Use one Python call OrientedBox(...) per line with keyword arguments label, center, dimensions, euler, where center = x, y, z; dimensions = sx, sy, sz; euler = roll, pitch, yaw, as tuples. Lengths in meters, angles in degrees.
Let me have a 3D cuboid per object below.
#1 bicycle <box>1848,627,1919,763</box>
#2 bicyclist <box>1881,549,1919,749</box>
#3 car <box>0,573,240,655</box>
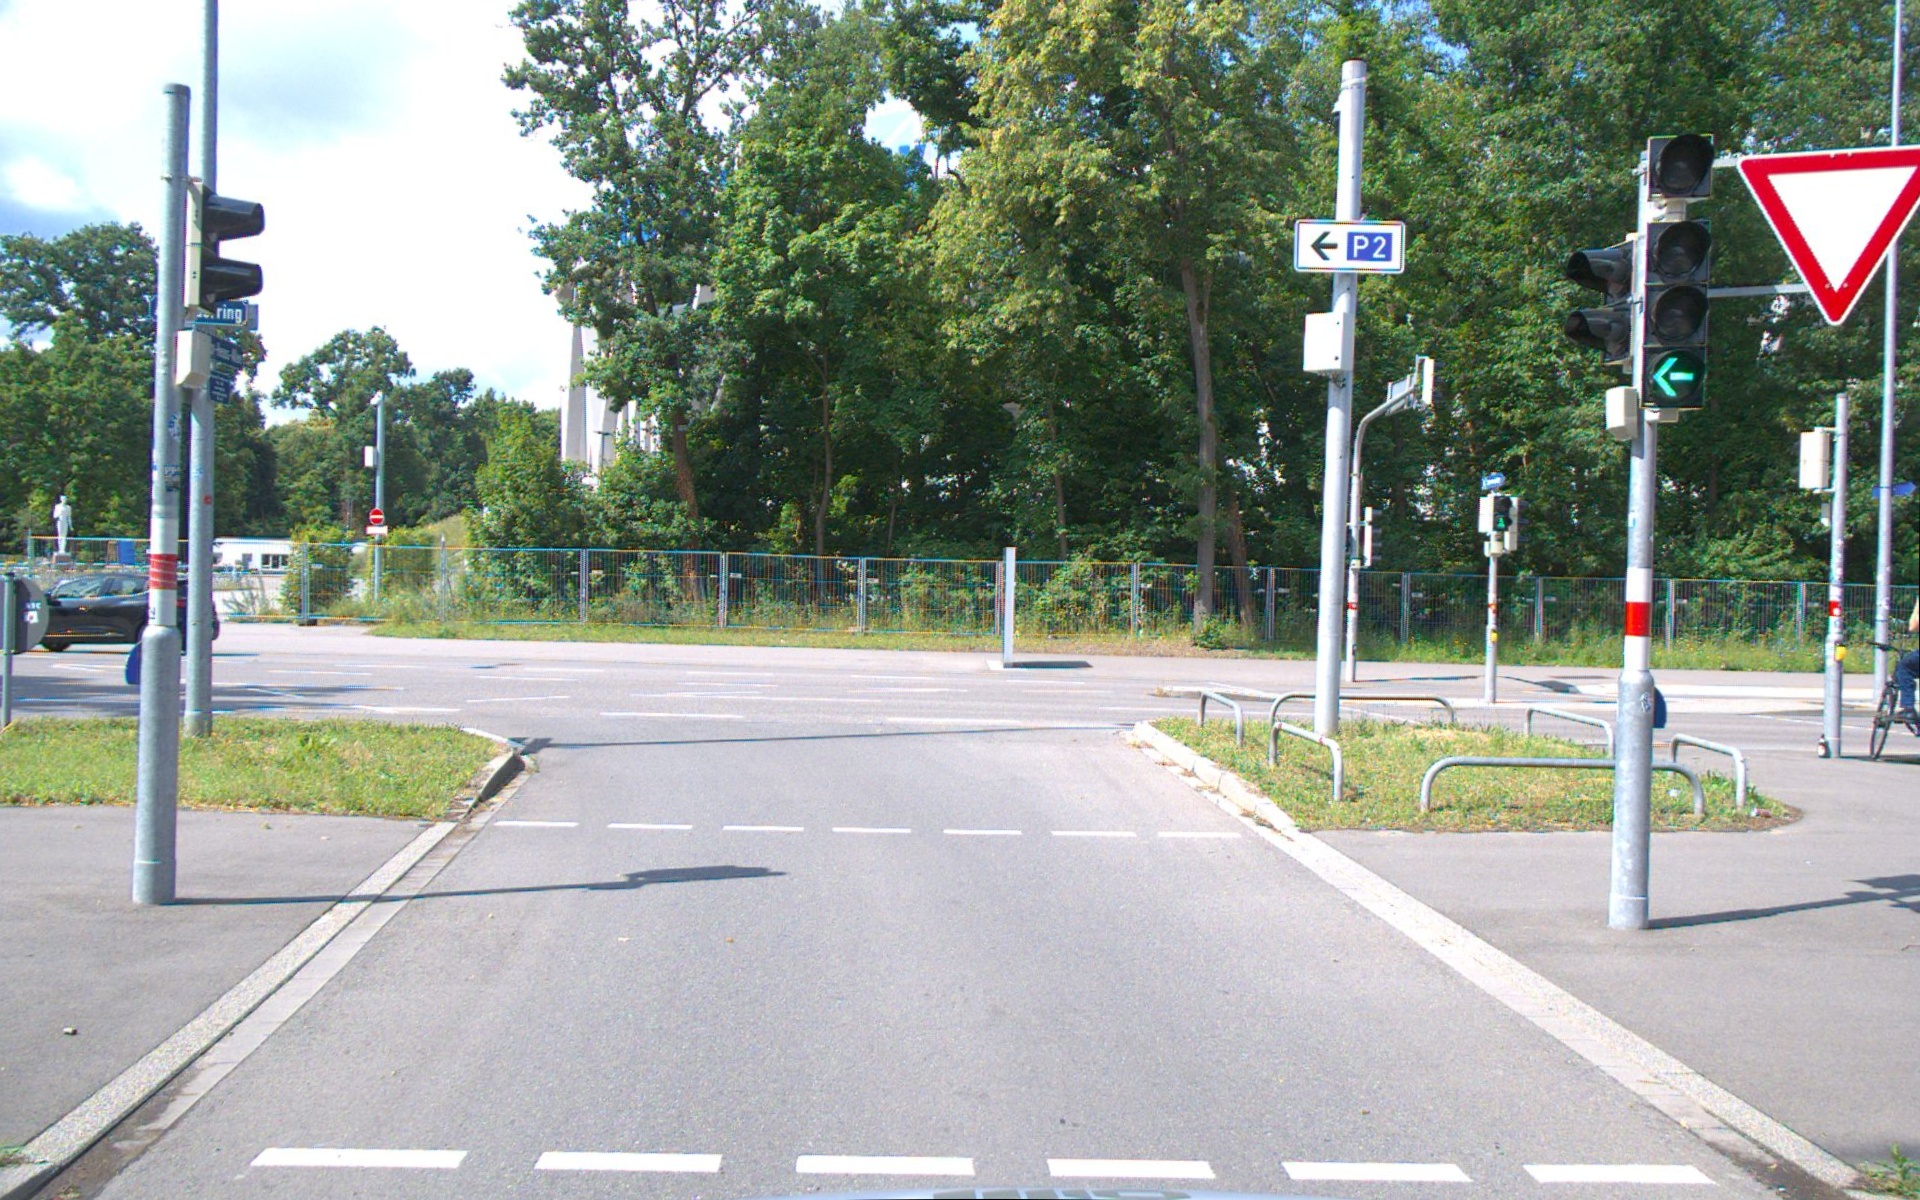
OrientedBox(label="bicycle", center=(9.268, 0.885, 15.706), dimensions=(0.861, 1.227, 1.899), euler=(1, -1, 8))
OrientedBox(label="bicyclist", center=(9.253, 0.459, 15.408), dimensions=(0.866, 1.829, 0.979), euler=(1, -1, 7))
OrientedBox(label="car", center=(-15.553, 0.257, 30.415), dimensions=(3.882, 1.402, 1.602), euler=(1, -1, -1))
